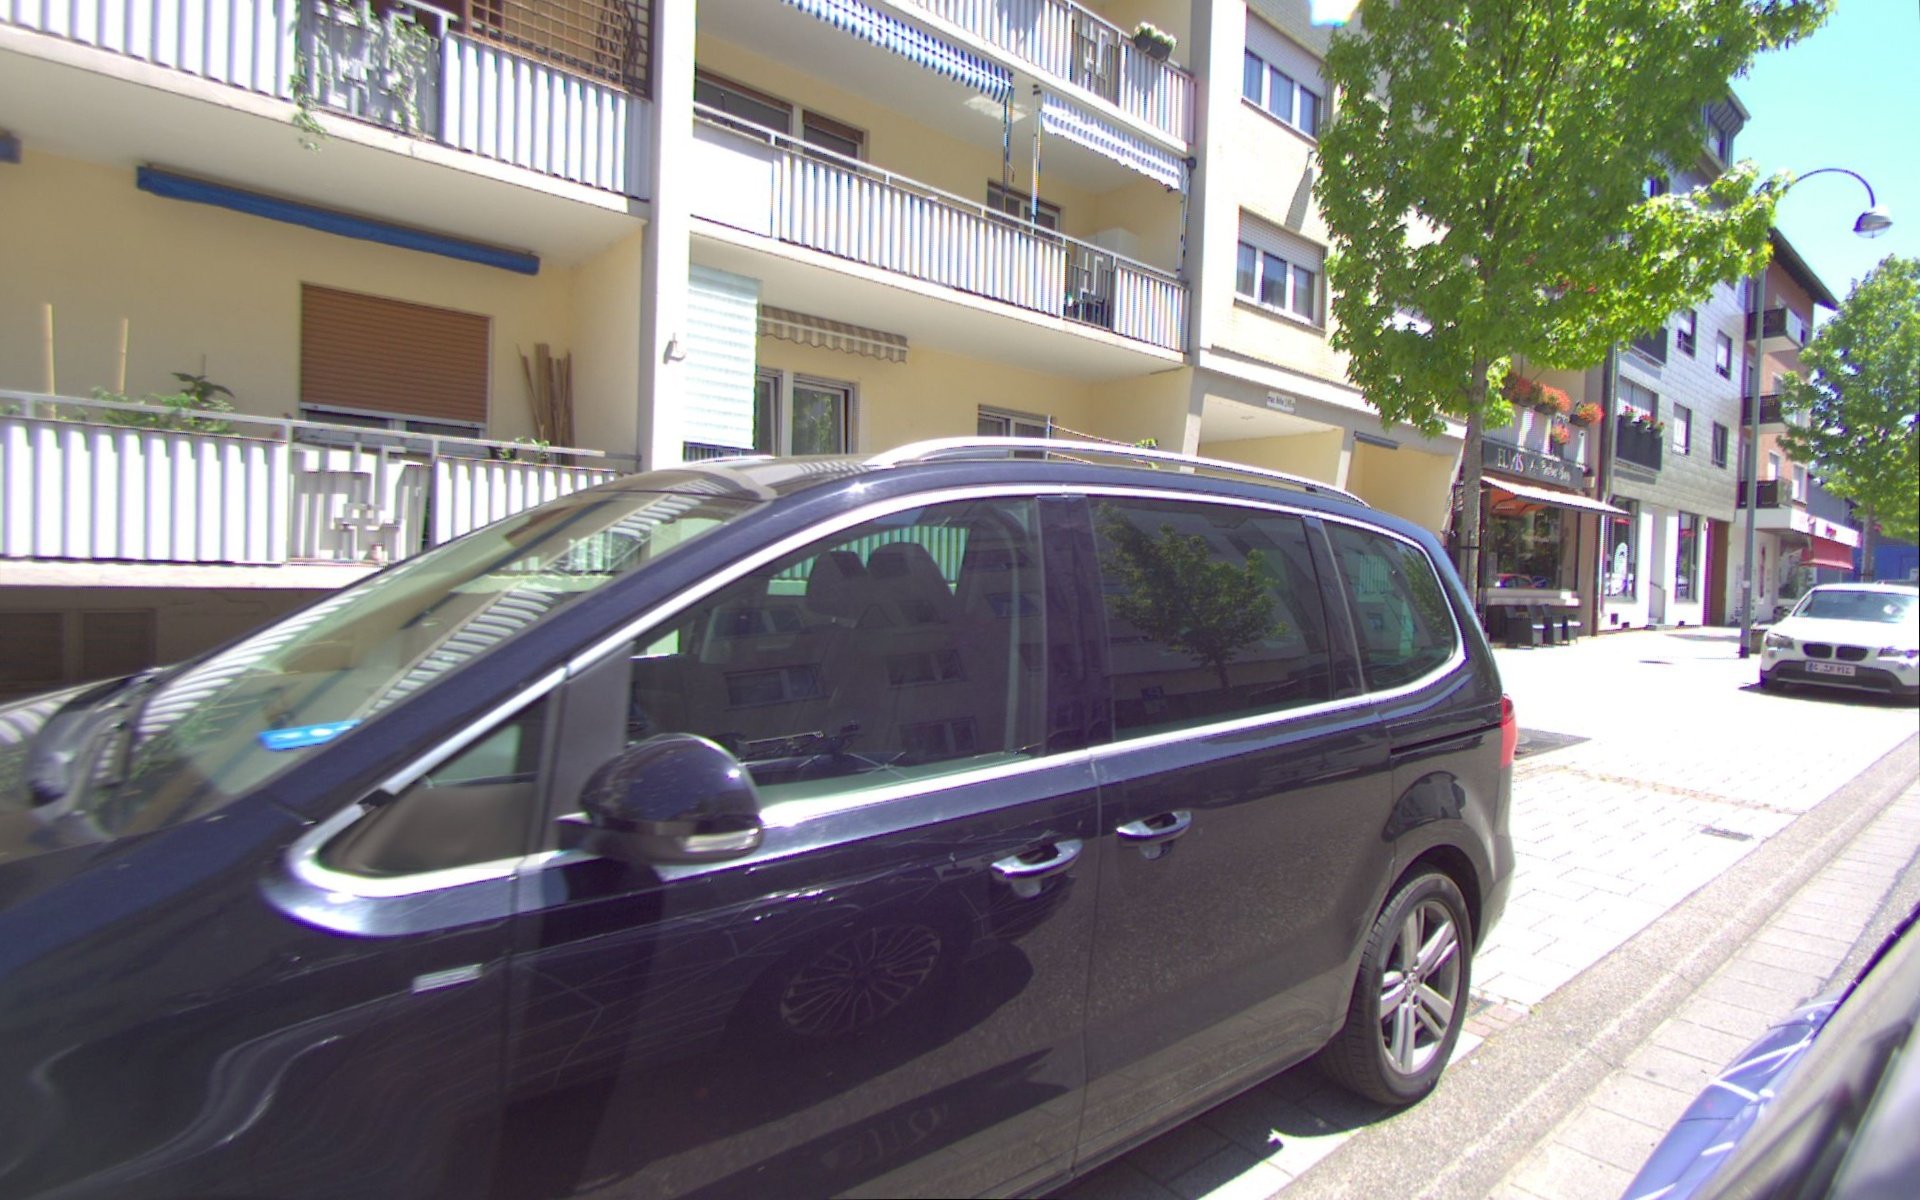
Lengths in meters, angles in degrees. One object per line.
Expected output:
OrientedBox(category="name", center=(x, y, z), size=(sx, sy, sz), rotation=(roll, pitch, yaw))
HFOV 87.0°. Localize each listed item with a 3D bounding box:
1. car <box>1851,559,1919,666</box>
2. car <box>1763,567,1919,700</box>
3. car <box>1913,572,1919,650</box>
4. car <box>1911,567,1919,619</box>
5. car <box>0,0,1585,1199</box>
OrientedBox(category="car", center=(17.520, 0.215, 18.035), size=(4.623, 1.726, 1.768), rotation=(0, 4, -41))
OrientedBox(category="car", center=(13.192, 0.384, 14.514), size=(4.149, 1.602, 1.727), rotation=(-1, 4, -39))
OrientedBox(category="car", center=(21.254, 0.247, 21.081), size=(3.773, 1.578, 1.626), rotation=(-1, 3, -41))
OrientedBox(category="car", center=(33.391, -0.186, 33.944), size=(1.745, 1.745, 3.856), rotation=(5, 4, 39))
OrientedBox(category="car", center=(-0.467, 0.281, 2.520), size=(4.486, 1.820, 1.999), rotation=(2, 2, -39))
